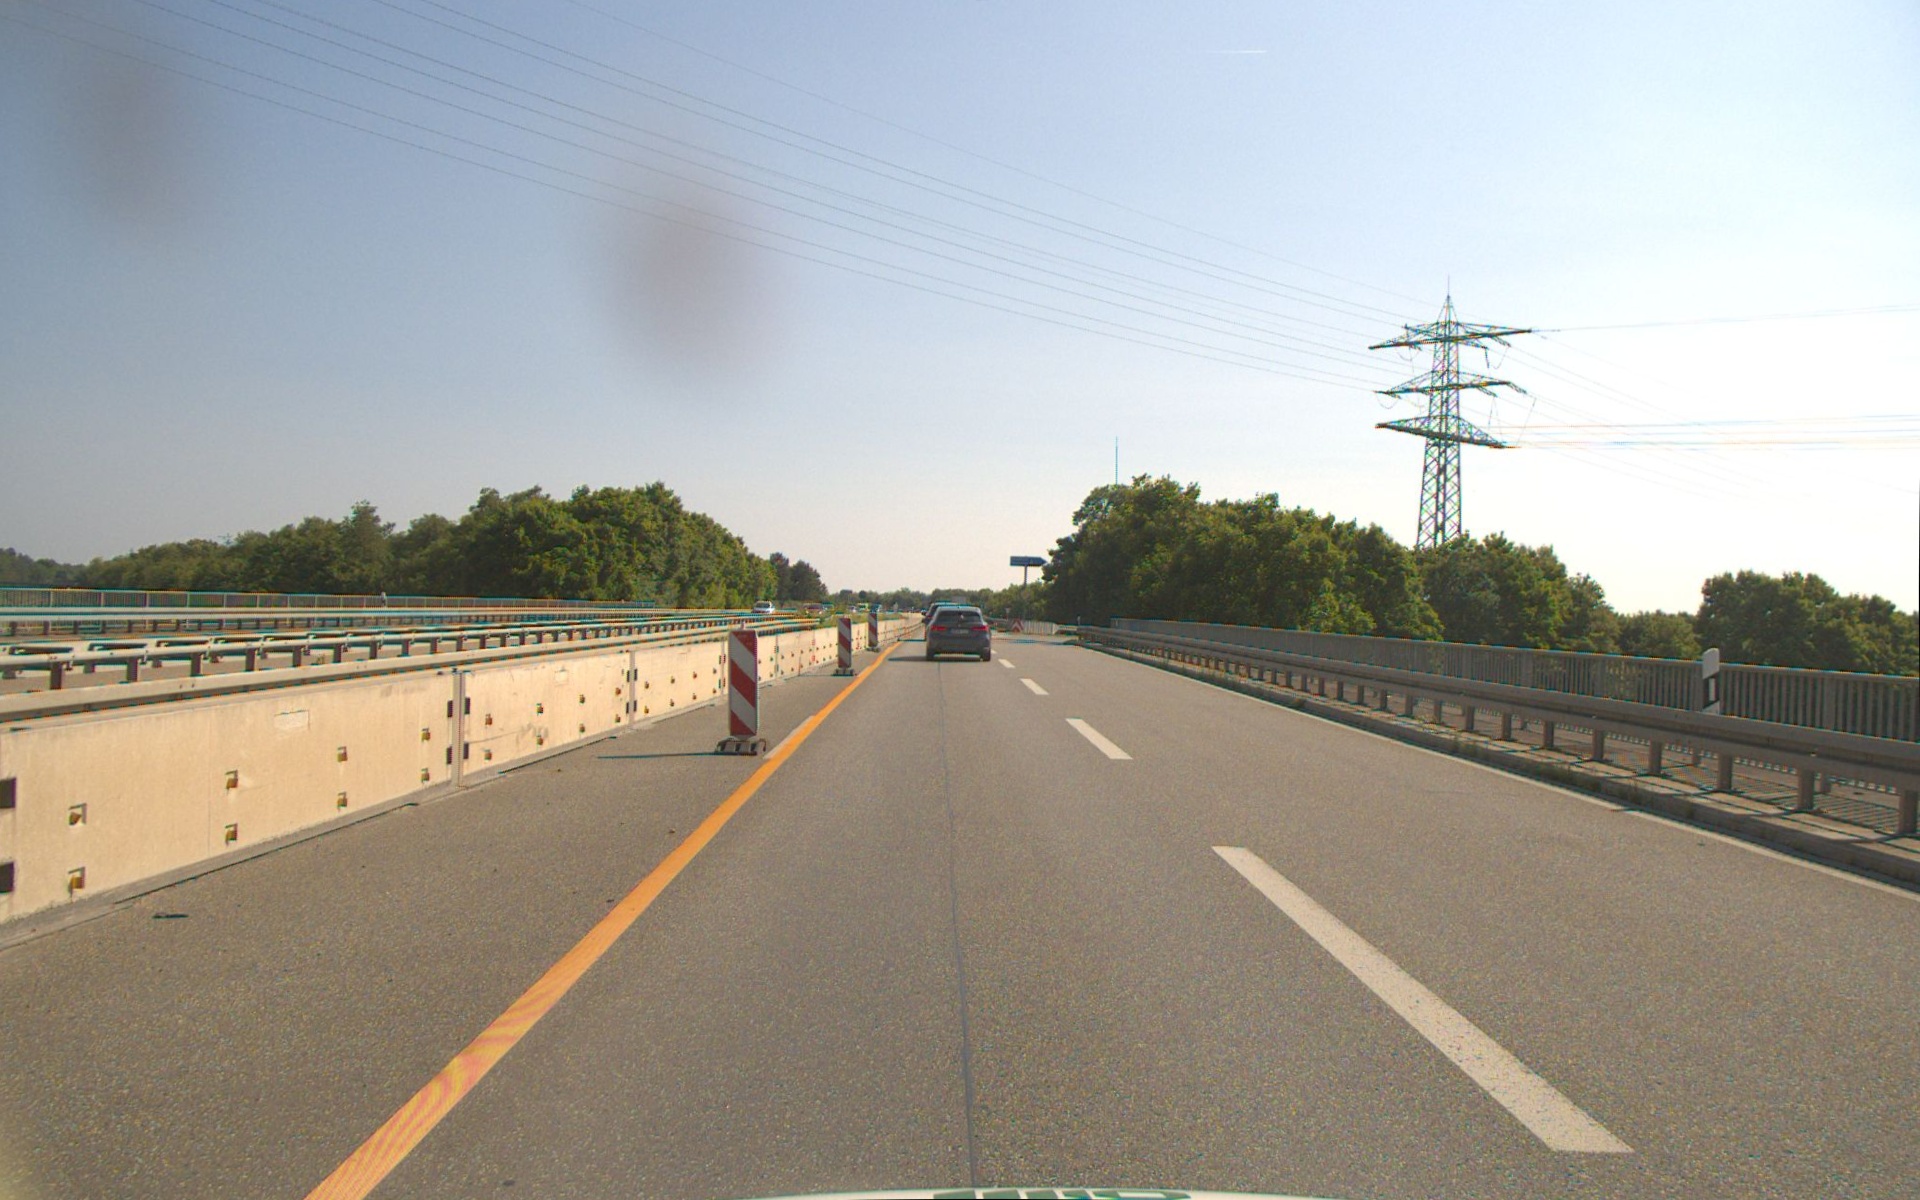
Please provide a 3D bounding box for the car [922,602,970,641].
[{"bbox_3d":[-0.594,0.908,70.577,1.953,1.594,3.999,1,0,0],"label":"car"}]

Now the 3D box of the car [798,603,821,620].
[{"bbox_3d":[-13.025,1.018,143.450,1.679,1.421,4.220,1,0,-2],"label":"car"}]

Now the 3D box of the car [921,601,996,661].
[{"bbox_3d":[-0.085,0.836,45.467,1.882,1.520,3.998,2,0,-2],"label":"car"}]

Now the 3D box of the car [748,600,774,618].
[{"bbox_3d":[-16.784,0.761,139.592,1.741,1.417,4.125,0,0,-1],"label":"car"}]
